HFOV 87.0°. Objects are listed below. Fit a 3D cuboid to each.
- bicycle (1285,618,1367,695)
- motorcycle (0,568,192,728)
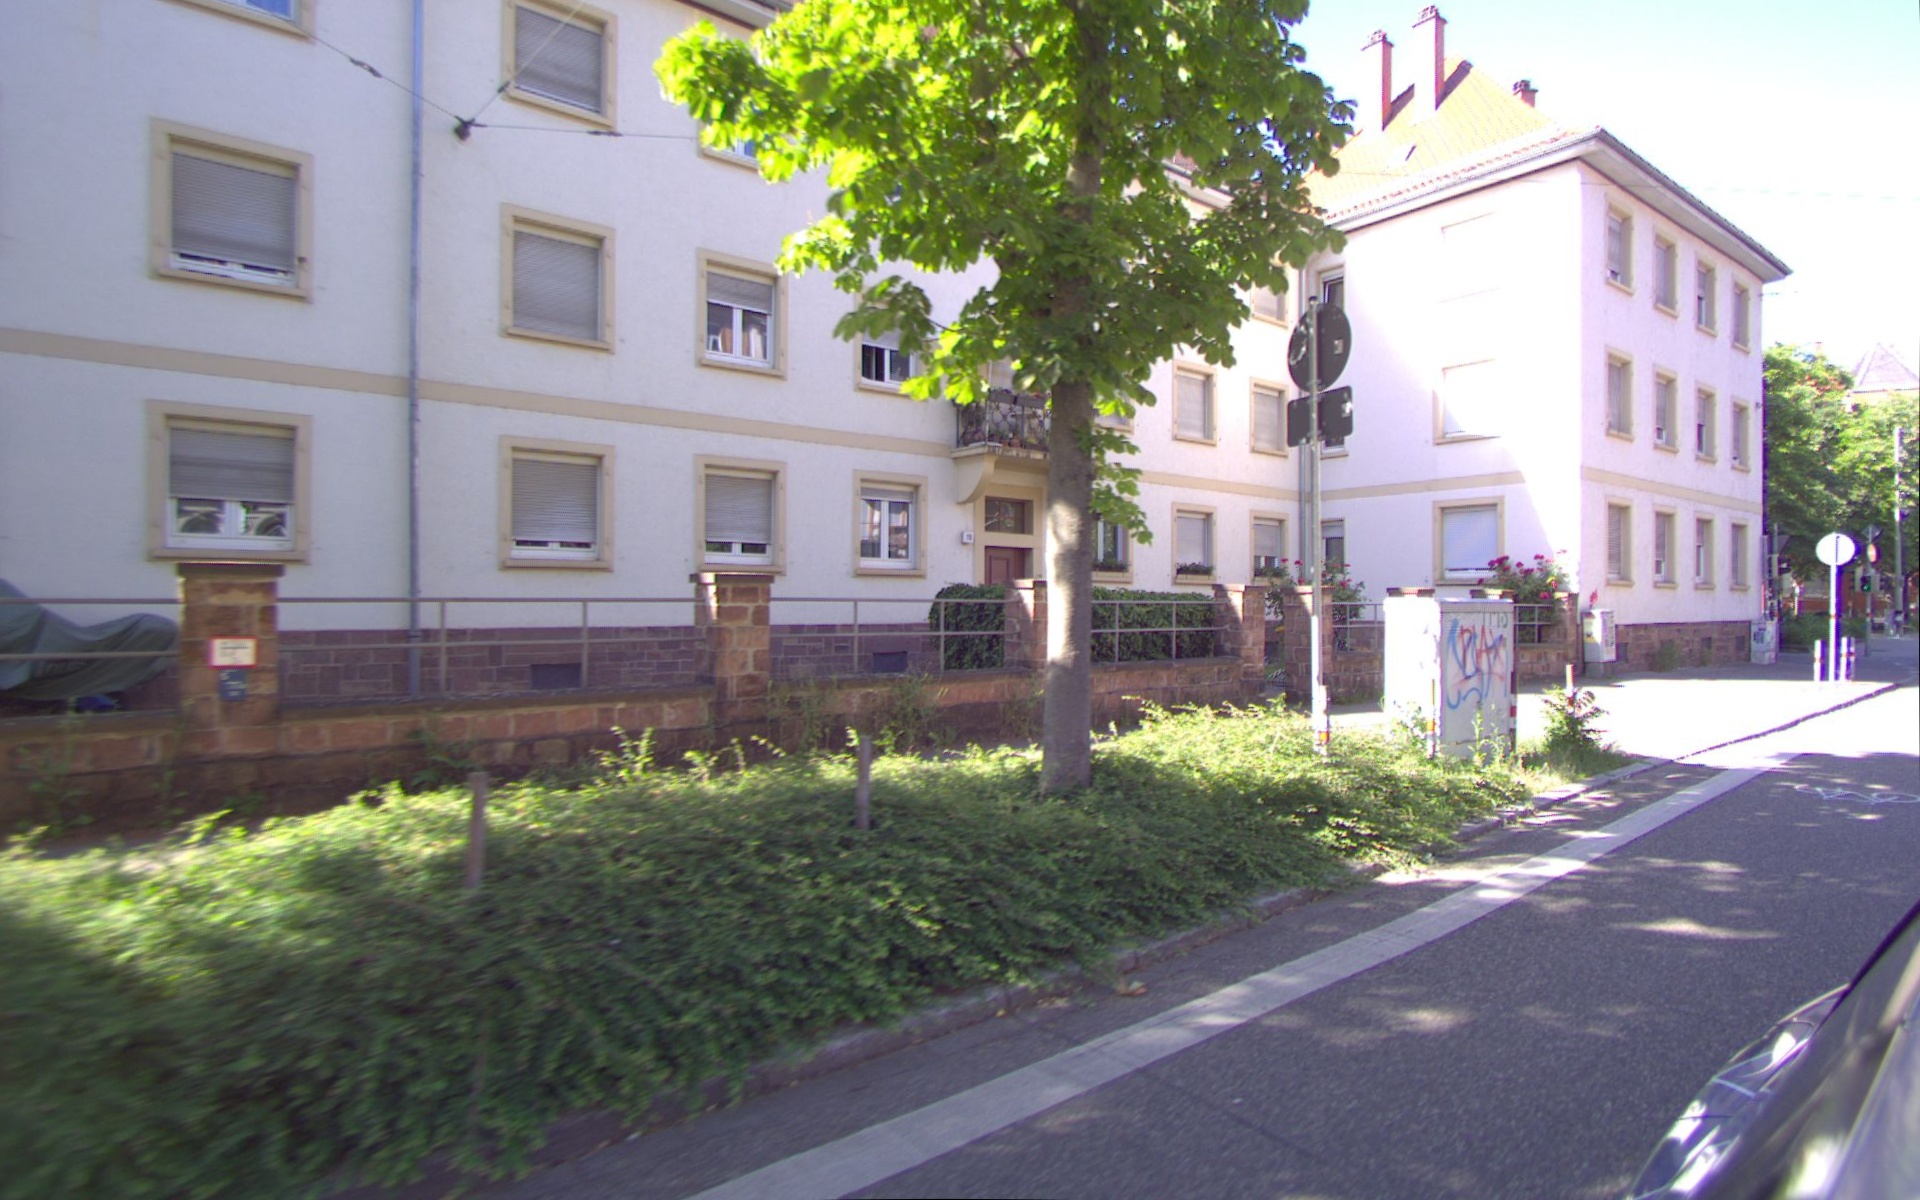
[{"bbox_3d":[5.576,0.836,15.362,1.644,1.107,0.459,1,-2,-43],"label":"bicycle"},{"bbox_3d":[-9.010,0.461,10.018,2.217,1.507,0.808,1,-2,-39],"label":"motorcycle"}]
